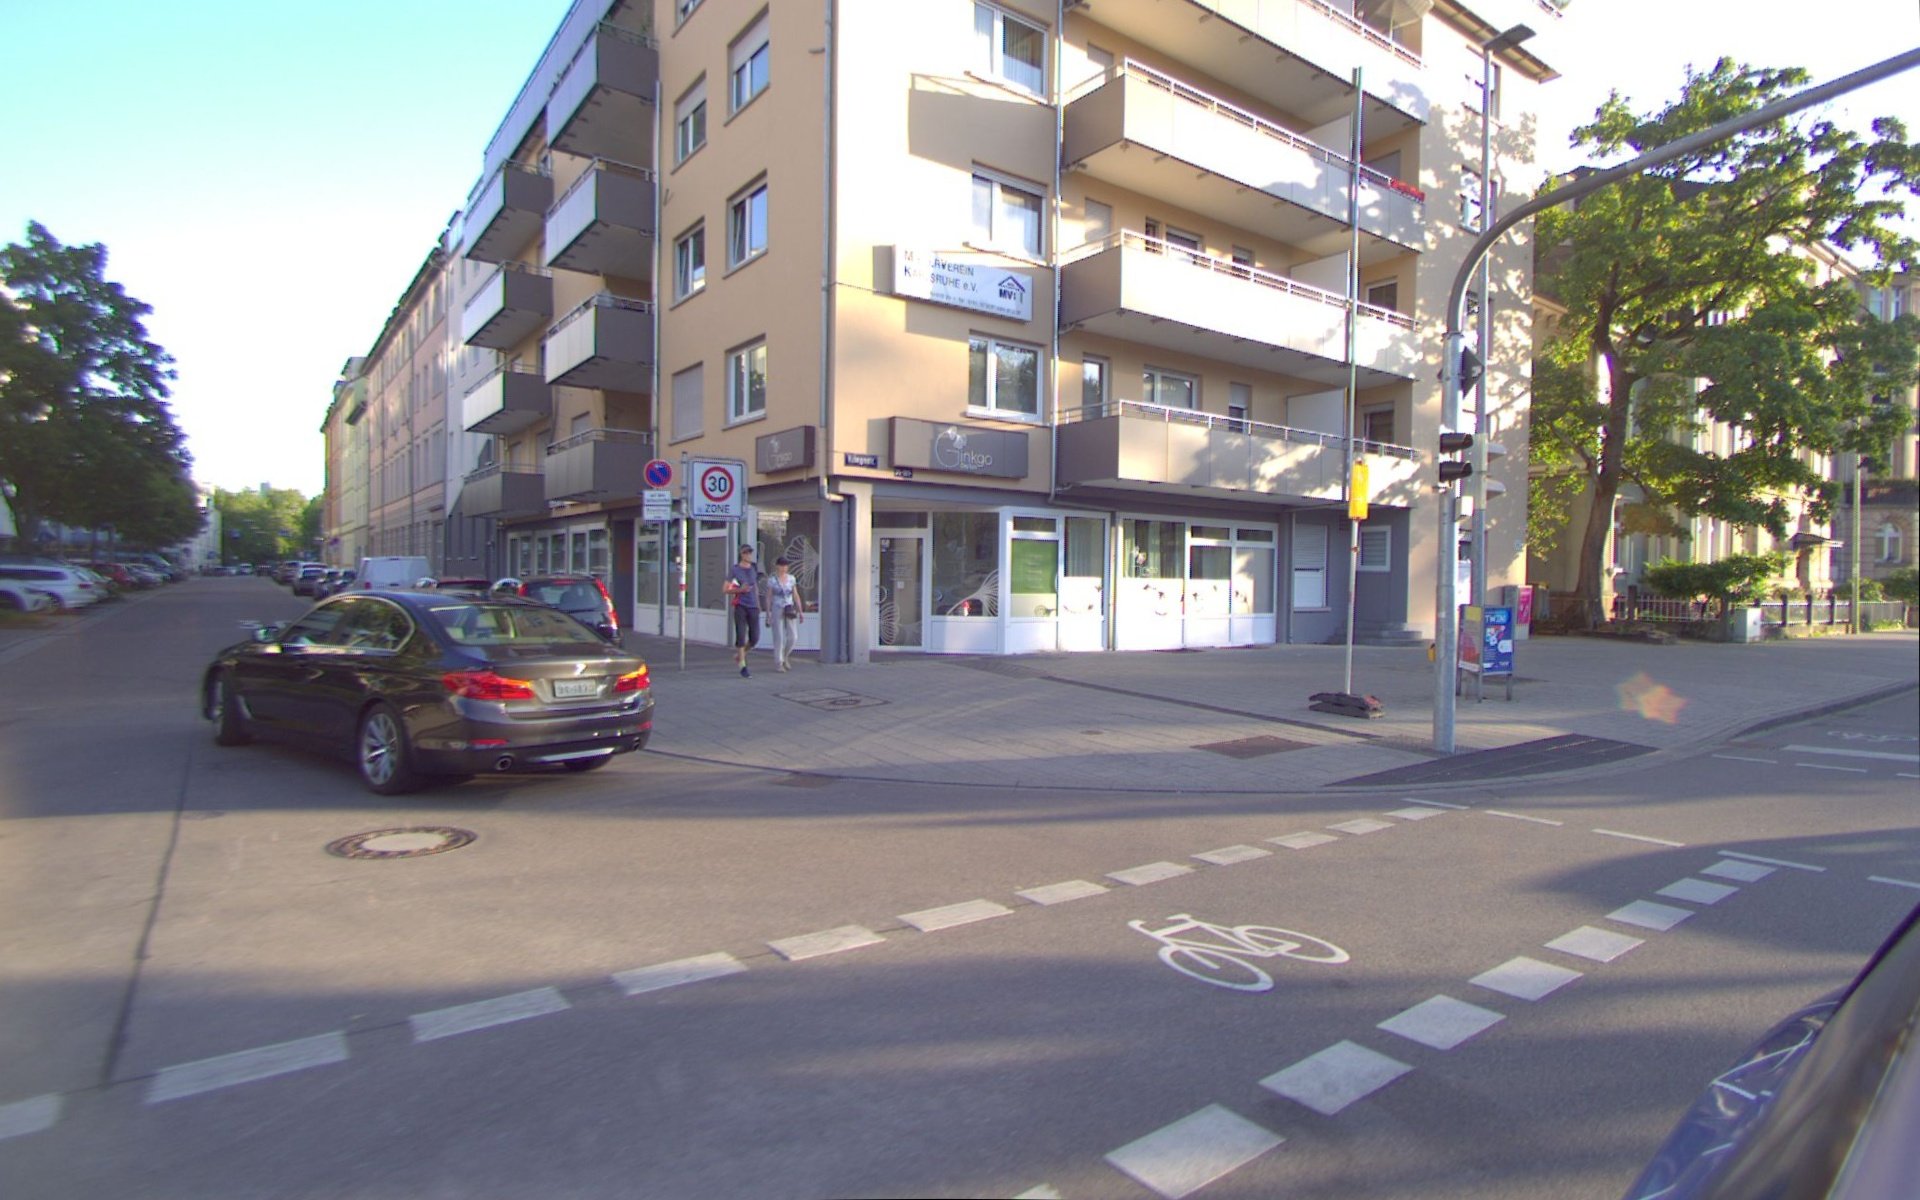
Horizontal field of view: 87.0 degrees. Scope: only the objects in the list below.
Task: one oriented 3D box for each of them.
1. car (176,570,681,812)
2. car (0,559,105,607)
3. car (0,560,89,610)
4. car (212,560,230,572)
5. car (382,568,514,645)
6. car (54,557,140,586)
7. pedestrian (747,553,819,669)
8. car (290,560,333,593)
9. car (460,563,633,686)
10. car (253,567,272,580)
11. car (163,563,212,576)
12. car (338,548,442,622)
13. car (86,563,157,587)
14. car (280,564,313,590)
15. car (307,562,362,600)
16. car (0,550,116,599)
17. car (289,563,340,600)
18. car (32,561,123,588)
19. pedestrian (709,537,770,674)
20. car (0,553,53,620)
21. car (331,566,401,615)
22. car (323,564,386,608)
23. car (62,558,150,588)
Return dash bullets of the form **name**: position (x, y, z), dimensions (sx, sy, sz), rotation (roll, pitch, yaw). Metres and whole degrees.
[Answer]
- **car**: position (-4.600, 0.554, 8.507), dimensions (4.591, 1.488, 1.784), rotation (2, 0, 34)
- **car**: position (-31.547, -0.569, 34.174), dimensions (3.956, 1.555, 1.640), rotation (0, -1, -37)
- **car**: position (-28.705, -0.433, 30.164), dimensions (4.106, 1.479, 1.751), rotation (0, -1, -40)
- **car**: position (-105.631, -4.848, 144.740), dimensions (1.995, 1.542, 4.398), rotation (0, -1, -35)
- **car**: position (-11.499, 0.065, 22.603), dimensions (1.628, 1.457, 4.223), rotation (-5, 5, -40)
- **car**: position (-46.979, -1.545, 55.195), dimensions (3.471, 1.479, 1.443), rotation (0, -1, -37)
- **pedestrian**: position (-2.593, 0.135, 14.794), dimensions (0.752, 1.635, 0.823), rotation (-1, 2, -33)
- **car**: position (-39.446, -1.402, 61.558), dimensions (1.995, 1.851, 4.780), rotation (0, -1, -35)
- **car**: position (-6.501, 0.263, 15.675), dimensions (1.586, 1.578, 3.816), rotation (-4, 4, -35)
- **car**: position (-91.435, -3.449, 132.651), dimensions (1.995, 1.542, 4.398), rotation (0, -1, -35)
- **car**: position (-100.001, -3.927, 131.088), dimensions (4.817, 1.542, 2.034), rotation (0, -1, -33)
- **car**: position (-16.633, -0.494, 29.424), dimensions (1.964, 1.886, 4.539), rotation (-5, 5, -37)
- **car**: position (-53.616, -1.566, 64.797), dimensions (3.441, 1.473, 1.443), rotation (0, -1, -37)
- **car**: position (-51.849, -1.745, 79.006), dimensions (1.995, 1.851, 4.780), rotation (0, -1, -35)
- **car**: position (-28.281, -0.820, 45.703), dimensions (1.704, 1.575, 4.195), rotation (0, -1, -38)
- **car**: position (-34.819, -0.954, 38.407), dimensions (4.204, 1.777, 1.640), rotation (0, -1, -37)
- **car**: position (-34.925, -0.982, 54.716), dimensions (2.118, 1.851, 4.780), rotation (0, -1, -35)
- **car**: position (-45.895, -1.308, 52.722), dimensions (3.471, 1.338, 1.443), rotation (0, -1, -37)
- **pedestrian**: position (-3.141, 0.058, 14.379), dimensions (0.534, 1.882, 0.840), rotation (-1, 2, -36)
- **car**: position (-26.383, -0.323, 25.893), dimensions (4.538, 1.714, 1.753), rotation (0, -1, -36)
- **car**: position (-19.943, -0.355, 33.937), dimensions (1.576, 1.504, 3.999), rotation (-1, 3, -37)
- **car**: position (-22.713, -0.574, 37.875), dimensions (1.576, 1.504, 4.248), rotation (-1, 3, -37)
- **car**: position (-48.236, -1.500, 57.248), dimensions (3.710, 1.623, 1.443), rotation (0, -1, -37)
